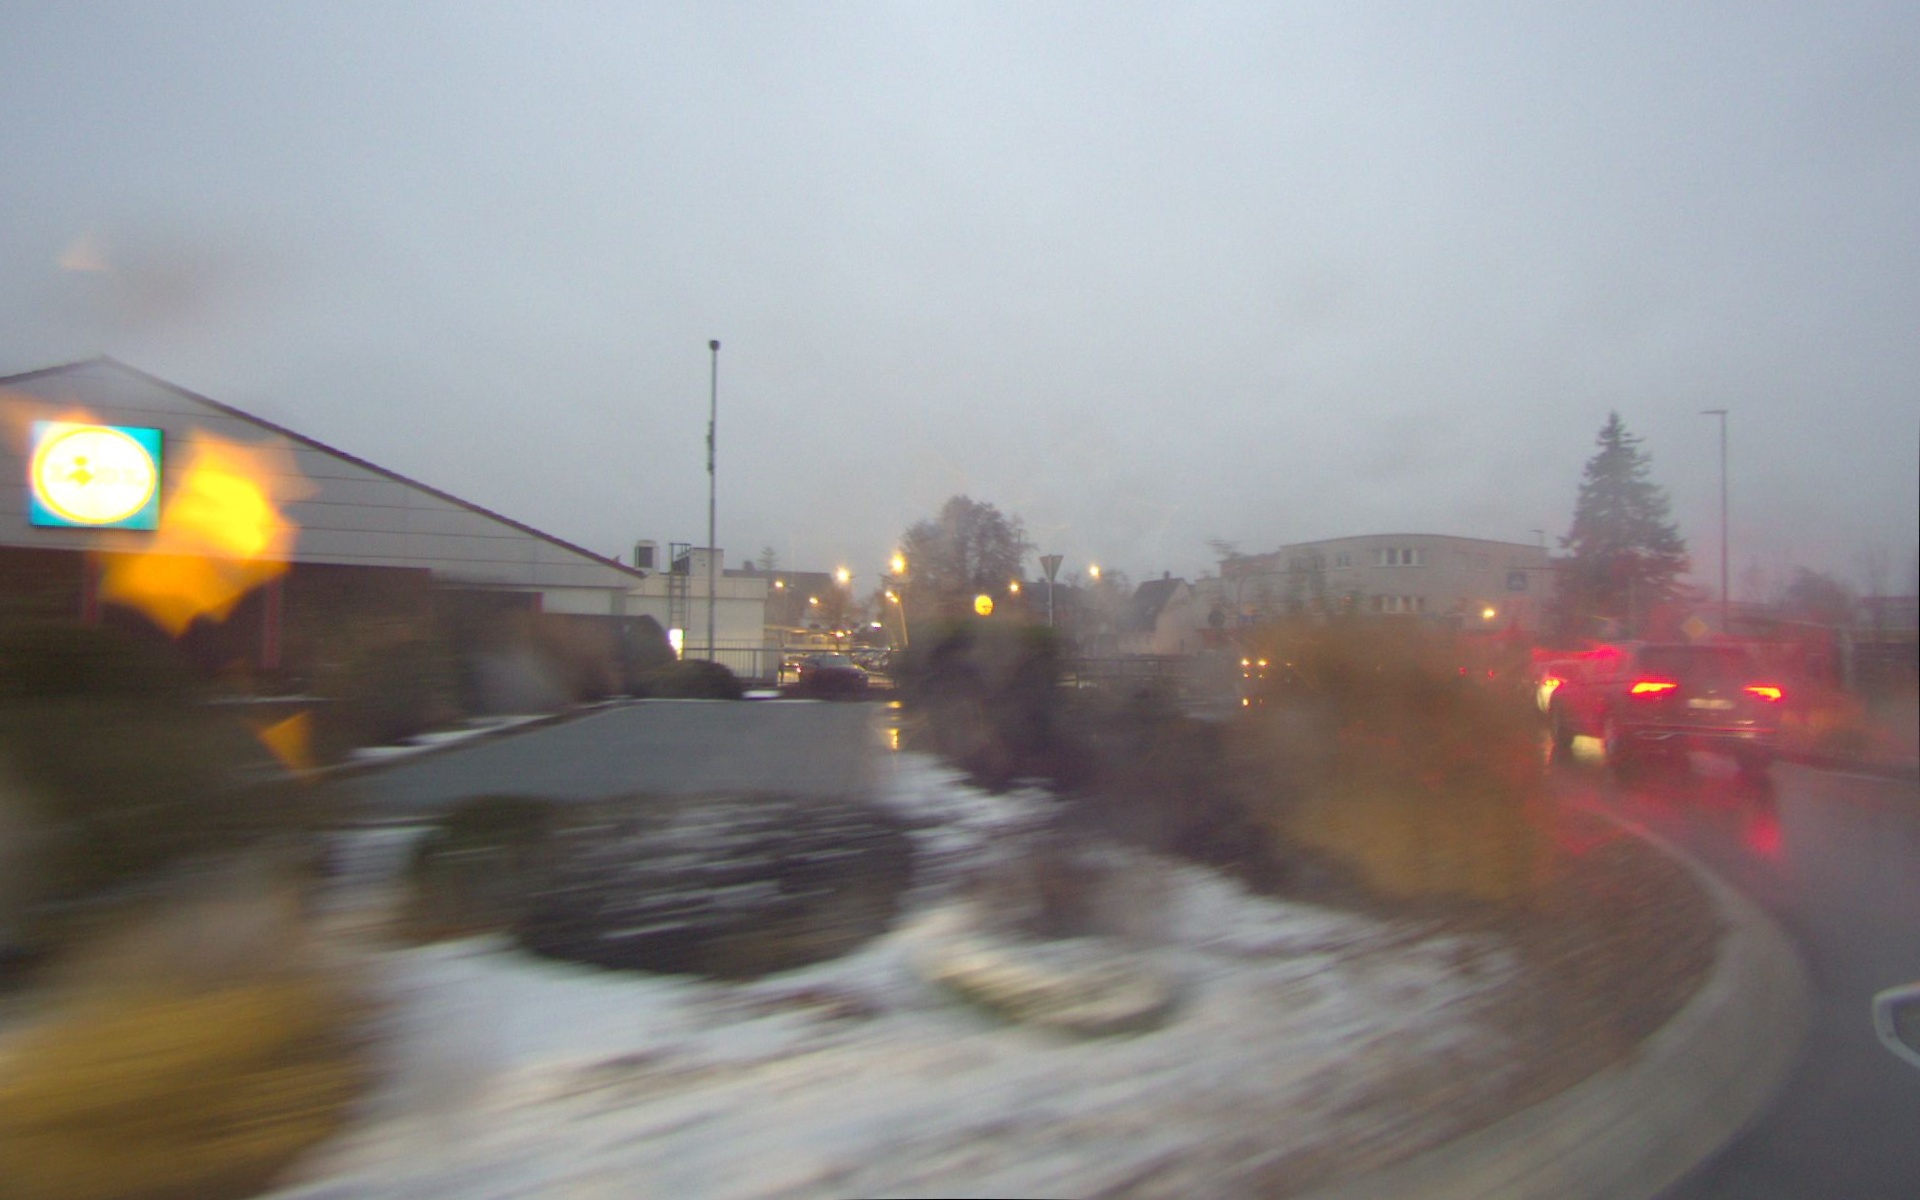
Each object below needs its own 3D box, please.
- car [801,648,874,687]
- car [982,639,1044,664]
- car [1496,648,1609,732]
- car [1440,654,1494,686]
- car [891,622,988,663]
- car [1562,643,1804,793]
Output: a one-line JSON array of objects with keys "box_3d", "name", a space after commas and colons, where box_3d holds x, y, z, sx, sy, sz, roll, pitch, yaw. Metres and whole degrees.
[{"box_3d": [-4.990, 2.688, 40.609, 1.816, 1.328, 3.977, 4, -2, -24], "name": "car"}, {"box_3d": [3.952, 3.819, 74.976, 4.294, 1.770, 1.697, 2, -2, -23], "name": "car"}, {"box_3d": [14.323, 2.060, 24.224, 2.133, 1.712, 4.560, -1, -2, 32], "name": "car"}, {"box_3d": [26.642, 3.698, 52.919, 1.851, 1.568, 4.574, 0, -4, 18], "name": "car"}, {"box_3d": [-1.179, 2.493, 59.008, 5.357, 2.161, 2.018, 4, -2, -28], "name": "car"}, {"box_3d": [9.960, 1.503, 14.212, 1.913, 1.741, 3.999, 0, -2, 23], "name": "car"}]
